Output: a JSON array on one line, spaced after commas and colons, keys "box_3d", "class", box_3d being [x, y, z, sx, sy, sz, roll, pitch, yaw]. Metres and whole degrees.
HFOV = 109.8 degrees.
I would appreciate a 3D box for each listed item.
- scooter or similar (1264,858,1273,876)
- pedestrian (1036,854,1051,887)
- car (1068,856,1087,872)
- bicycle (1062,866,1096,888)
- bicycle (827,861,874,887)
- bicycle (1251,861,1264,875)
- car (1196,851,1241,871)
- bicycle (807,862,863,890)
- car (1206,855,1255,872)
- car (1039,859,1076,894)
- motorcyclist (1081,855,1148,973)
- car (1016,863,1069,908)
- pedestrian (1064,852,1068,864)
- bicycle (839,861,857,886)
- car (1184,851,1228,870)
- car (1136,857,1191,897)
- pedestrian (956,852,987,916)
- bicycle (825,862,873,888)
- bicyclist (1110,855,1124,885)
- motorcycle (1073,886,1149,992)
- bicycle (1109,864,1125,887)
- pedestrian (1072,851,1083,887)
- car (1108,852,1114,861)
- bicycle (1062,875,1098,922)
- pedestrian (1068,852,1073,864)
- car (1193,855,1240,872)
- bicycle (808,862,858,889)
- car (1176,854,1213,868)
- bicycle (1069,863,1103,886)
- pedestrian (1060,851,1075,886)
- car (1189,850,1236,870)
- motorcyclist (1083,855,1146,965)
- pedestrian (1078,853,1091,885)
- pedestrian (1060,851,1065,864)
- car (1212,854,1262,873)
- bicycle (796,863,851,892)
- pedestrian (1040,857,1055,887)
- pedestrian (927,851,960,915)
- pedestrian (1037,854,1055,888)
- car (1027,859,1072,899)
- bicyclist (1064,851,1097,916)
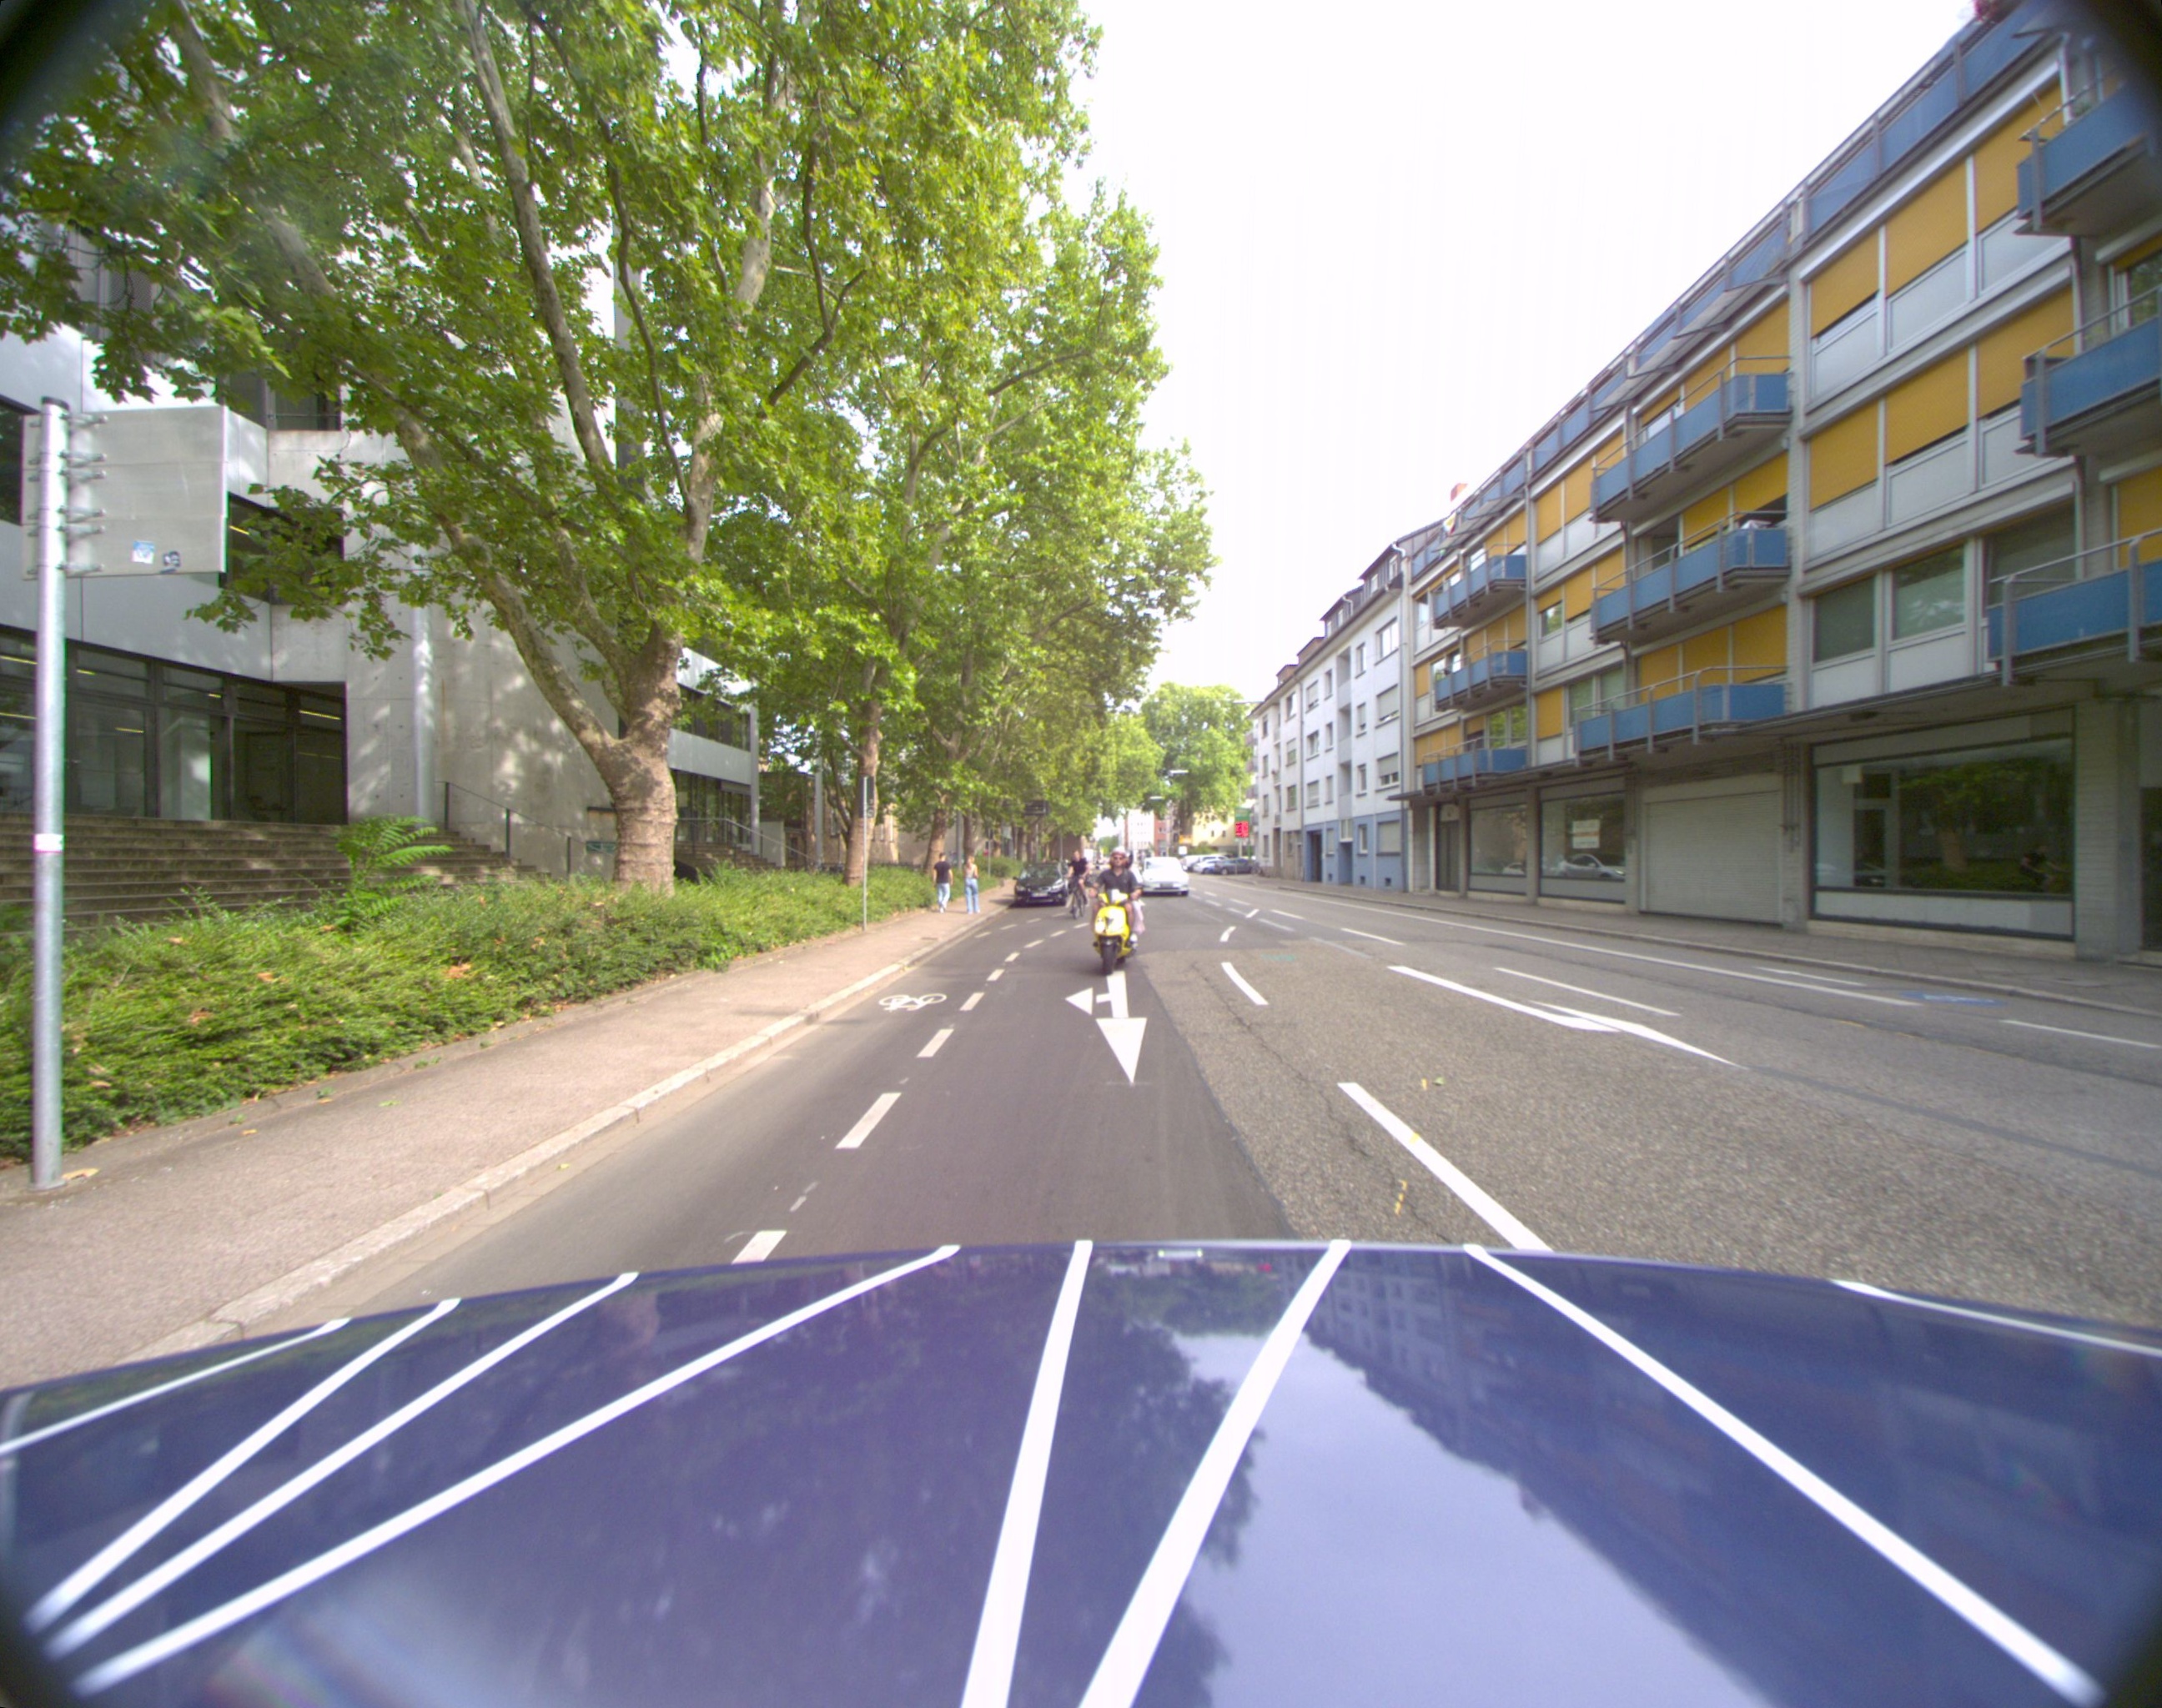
[{"box_3d": [13.167, 0.899, 53.439, 0.350, 1.214, 1.202, -1, 0, 1], "class": "scooter or similar"}, {"box_3d": [-2.136, 0.914, 43.316, 0.723, 1.844, 0.703, -2, 1, 1], "class": "pedestrian"}, {"box_3d": [-0.355, 1.067, 81.143, 1.926, 1.612, 4.481, -2, 0, -1], "class": "car"}, {"box_3d": [-0.109, 1.241, 41.424, 1.740, 1.099, 0.552, -2, 0, -10], "class": "bicycle"}, {"box_3d": [-10.457, 0.903, 34.564, 1.919, 1.111, 0.673, 1, 0, 1], "class": "bicycle"}, {"box_3d": [13.033, 1.021, 56.148, 0.598, 0.945, 1.663, -1, 0, 1], "class": "bicycle"}, {"box_3d": [13.944, 0.696, 77.089, 4.221, 1.837, 1.924, -3, 0, 1], "class": "car"}, {"box_3d": [-10.139, 0.915, 31.405, 2.084, 1.111, 0.673, 1, 0, 1], "class": "bicycle"}, {"box_3d": [14.167, 0.878, 72.099, 4.311, 1.442, 1.910, -3, 0, 1], "class": "car"}, {"box_3d": [-1.080, 1.049, 36.800, 1.532, 1.493, 3.660, -2, 0, 1], "class": "car"}, {"box_3d": [0.485, 0.828, 10.733, 0.904, 1.608, 0.691, 0, 0, 6], "class": "motorcyclist"}, {"box_3d": [-1.344, 1.085, 27.618, 1.702, 1.417, 4.421, -2, 0, -1], "class": "car"}, {"box_3d": [-2.203, 0.591, 108.977, 0.502, 1.775, 0.527, 3, 1, 0], "class": "pedestrian"}, {"box_3d": [-11.027, 0.915, 35.932, 0.492, 1.111, 1.437, 1, 0, -4], "class": "bicycle"}, {"box_3d": [14.121, 0.734, 86.254, 4.627, 1.848, 1.950, -3, 0, 2], "class": "car"}, {"box_3d": [3.458, 0.919, 32.608, 2.000, 1.556, 4.551, -1, 0, 2], "class": "car"}, {"box_3d": [-3.140, 0.844, 21.919, 0.712, 1.773, 1.033, 1, 1, 0], "class": "pedestrian"}, {"box_3d": [-10.211, 0.905, 33.472, 1.919, 1.111, 0.673, 1, 0, 1], "class": "bicycle"}, {"box_3d": [1.958, 0.856, 41.379, 0.748, 1.590, 0.819, -1, 0, 2], "class": "bicyclist"}, {"box_3d": [0.482, 1.112, 10.732, 0.904, 1.190, 2.632, 0, 0, 6], "class": "motorcycle"}, {"box_3d": [1.955, 1.172, 41.374, 0.763, 1.162, 1.950, -1, 0, 2], "class": "bicycle"}, {"box_3d": [-0.200, 0.827, 41.714, 0.476, 1.923, 0.744, -2, 1, -10], "class": "pedestrian"}, {"box_3d": [9.718, 0.803, 245.570, 1.998, 2.546, 4.799, -1, 0, 2], "class": "car"}, {"box_3d": [-0.004, 1.174, 20.575, 0.763, 1.162, 1.950, -1, 0, 5], "class": "bicycle"}, {"box_3d": [-1.462, 0.598, 109.200, 0.592, 1.775, 0.476, 3, 1, 0], "class": "pedestrian"}, {"box_3d": [13.257, 0.921, 74.356, 4.281, 1.442, 1.874, -3, 0, 1], "class": "car"}, {"box_3d": [-10.579, 0.919, 32.455, 1.919, 1.111, 0.673, 1, 0, 1], "class": "bicycle"}, {"box_3d": [14.581, 0.935, 97.697, 4.529, 1.596, 1.754, -3, 0, 2], "class": "car"}, {"box_3d": [0.276, 1.166, 42.868, 1.796, 1.210, 0.552, -2, 1, -16], "class": "bicycle"}, {"box_3d": [-0.771, 0.818, 43.756, 0.795, 1.985, 0.750, -2, 1, 1], "class": "pedestrian"}, {"box_3d": [14.470, 0.670, 83.853, 4.778, 1.923, 1.994, -3, 0, 2], "class": "car"}, {"box_3d": [0.521, 0.823, 11.442, 0.904, 1.608, 0.691, 0, 0, 6], "class": "motorcyclist"}, {"box_3d": [0.173, 0.855, 43.247, 0.522, 1.834, 0.744, -2, 1, -14], "class": "pedestrian"}, {"box_3d": [-2.705, 0.513, 109.657, 0.643, 1.823, 0.645, 3, 1, 0], "class": "pedestrian"}, {"box_3d": [14.276, 0.842, 69.716, 4.161, 1.504, 1.837, -3, 0, 1], "class": "car"}, {"box_3d": [-10.188, 0.925, 30.069, 1.919, 1.111, 0.673, 1, 0, 1], "class": "bicycle"}, {"box_3d": [-1.867, 0.989, 42.290, 0.723, 1.648, 0.655, -2, 1, 1], "class": "pedestrian"}, {"box_3d": [-3.966, 0.813, 21.944, 0.717, 1.789, 1.033, 1, 1, 0], "class": "pedestrian"}, {"box_3d": [-1.904, 0.923, 41.512, 0.873, 1.806, 0.780, -2, 1, 1], "class": "pedestrian"}, {"box_3d": [-1.284, 1.023, 31.925, 1.539, 1.534, 2.600, -2, 0, 4], "class": "car"}, {"box_3d": [-0.005, 0.781, 20.640, 0.764, 1.698, 0.918, -1, 0, 5], "class": "bicyclist"}]
